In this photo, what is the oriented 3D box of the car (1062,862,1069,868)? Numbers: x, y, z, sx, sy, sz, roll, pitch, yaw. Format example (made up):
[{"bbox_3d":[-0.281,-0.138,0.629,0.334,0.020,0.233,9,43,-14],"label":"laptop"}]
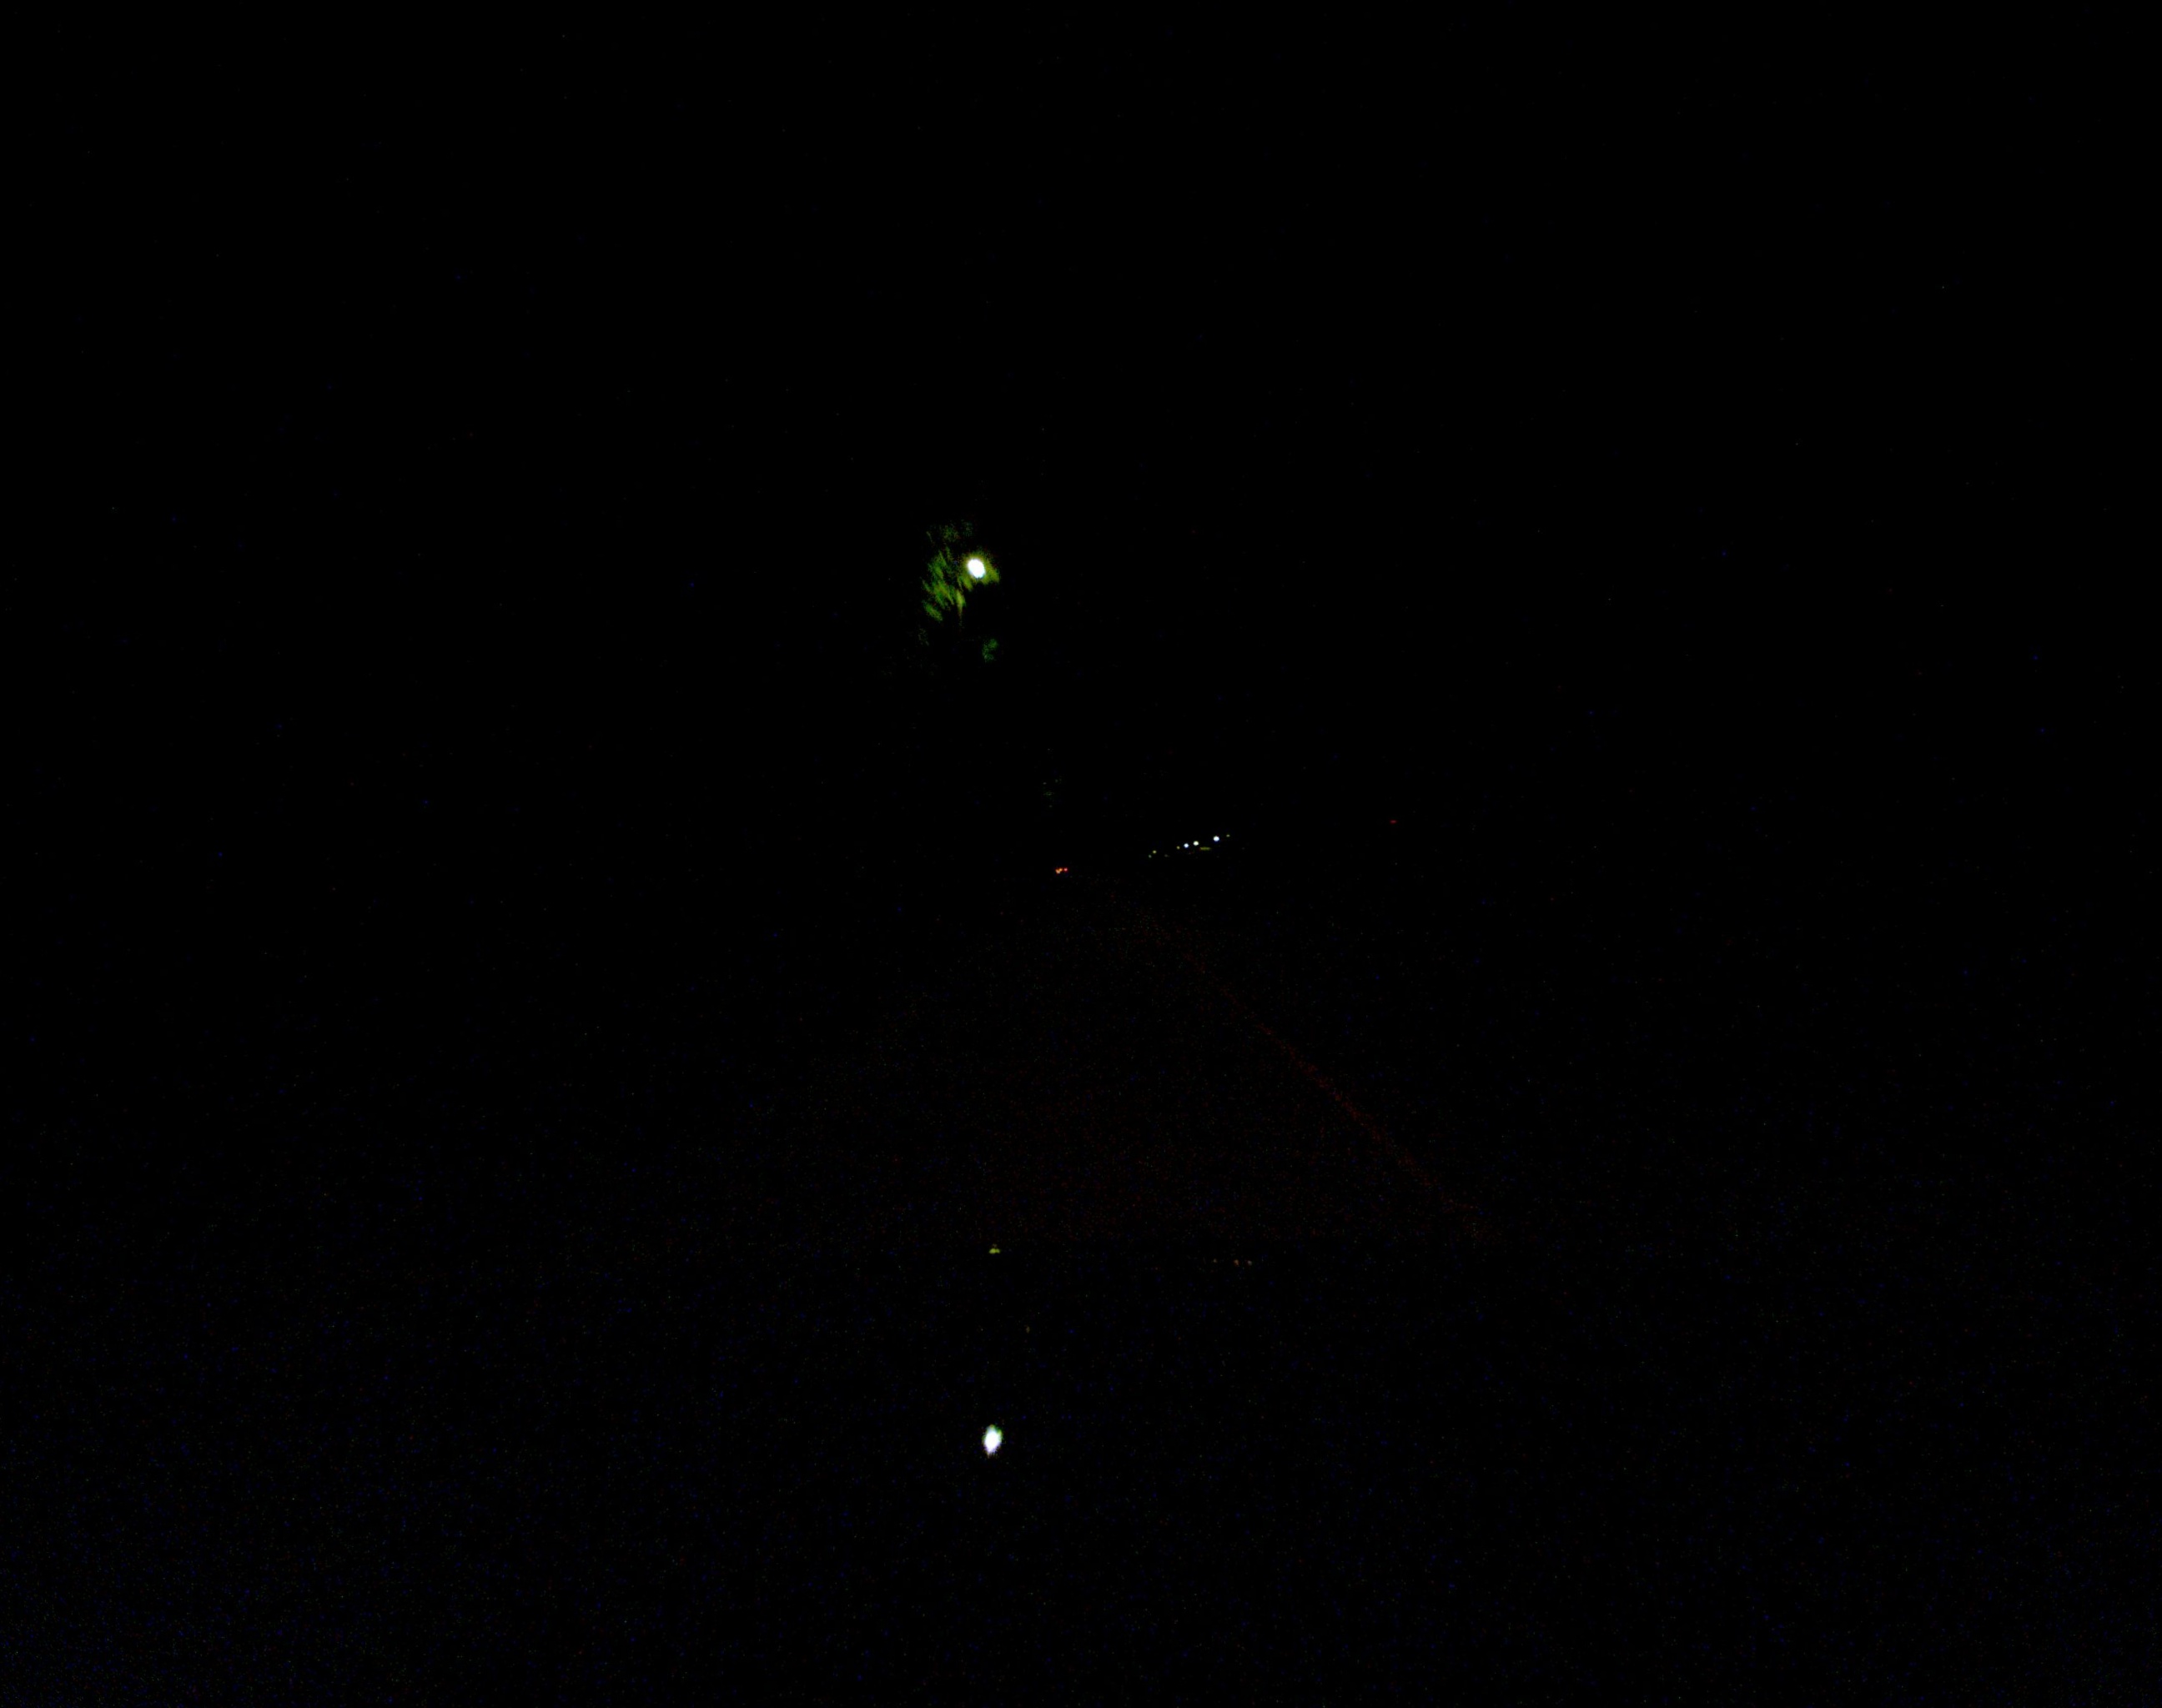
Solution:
[{"bbox_3d":[-3.828,2.668,189.927,1.651,1.482,3.557,-2,0,-2],"label":"car"}]

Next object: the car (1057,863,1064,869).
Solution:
[{"bbox_3d":[-5.664,3.332,208.112,1.692,1.449,4.000,-2,0,-1],"label":"car"}]
